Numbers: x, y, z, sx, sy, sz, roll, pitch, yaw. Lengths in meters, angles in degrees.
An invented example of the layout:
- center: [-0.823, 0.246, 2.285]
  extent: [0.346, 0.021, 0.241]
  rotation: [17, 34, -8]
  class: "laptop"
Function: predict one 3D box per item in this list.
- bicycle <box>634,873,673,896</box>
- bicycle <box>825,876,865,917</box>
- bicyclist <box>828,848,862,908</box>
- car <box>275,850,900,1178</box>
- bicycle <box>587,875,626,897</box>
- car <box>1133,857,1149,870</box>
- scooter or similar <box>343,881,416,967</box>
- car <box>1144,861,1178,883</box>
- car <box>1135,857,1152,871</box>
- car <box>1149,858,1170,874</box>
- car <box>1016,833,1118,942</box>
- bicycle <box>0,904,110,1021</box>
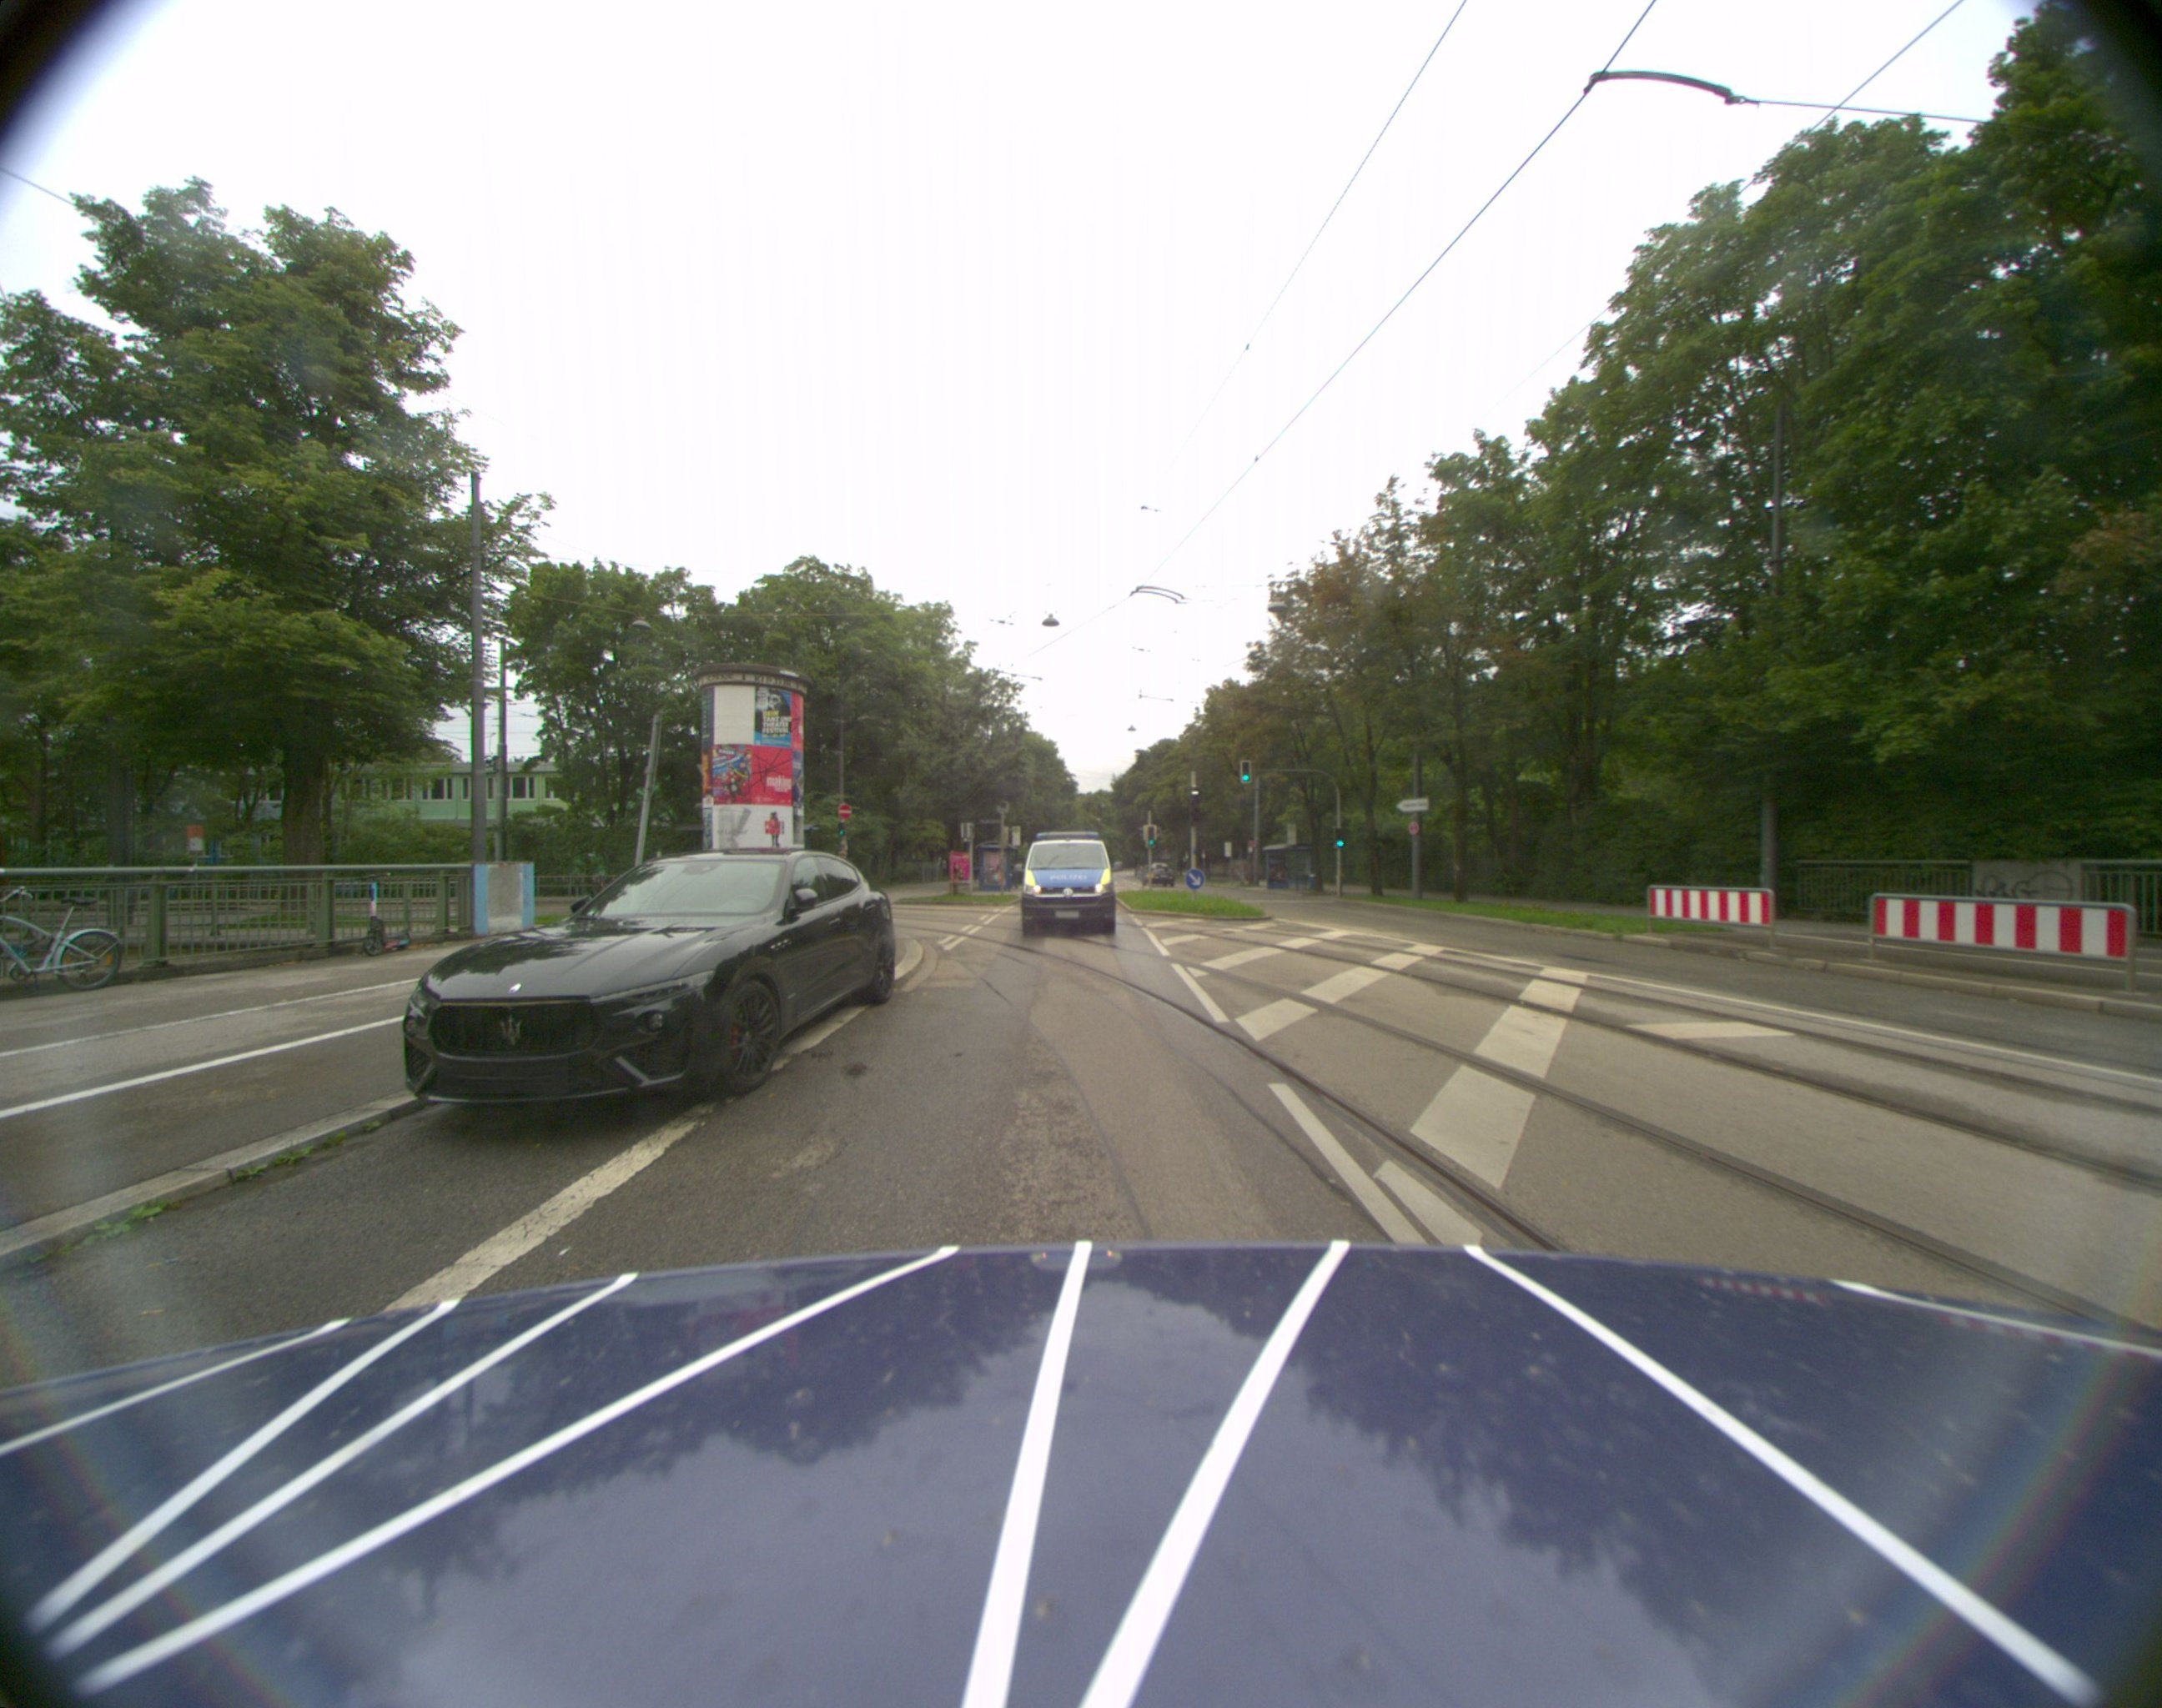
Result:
- center: [-18.714, 1.325, 33.280]
  extent: [1.483, 0.946, 0.373]
  rotation: [-1, 1, 3]
  class: "bicycle"
- center: [-6.958, 1.230, 22.498]
  extent: [0.580, 1.072, 1.911]
  rotation: [-2, 1, -1]
  class: "bicycle"
- center: [-7.007, 0.696, 22.601]
  extent: [0.726, 1.719, 0.726]
  rotation: [-2, 1, 0]
  class: "bicyclist"
- center: [-3.057, 0.823, 6.176]
  extent: [1.905, 1.600, 4.665]
  rotation: [-2, 0, 1]
  class: "car"
- center: [-20.891, 1.397, 33.484]
  extent: [1.483, 0.946, 0.373]
  rotation: [-1, 1, 3]
  class: "bicycle"
- center: [8.571, 1.291, 108.780]
  extent: [1.888, 1.716, 3.999]
  rotation: [-2, 1, -1]
  class: "car"
- center: [-10.615, 1.037, 11.529]
  extent: [0.225, 1.205, 1.020]
  rotation: [-2, 1, -8]
  class: "scooter or similar"
- center: [5.578, 1.230, 53.562]
  extent: [1.628, 1.380, 4.839]
  rotation: [1, 0, -3]
  class: "car"
- center: [8.453, 1.305, 103.636]
  extent: [1.888, 1.716, 3.999]
  rotation: [-2, 1, -1]
  class: "car"
- center: [9.197, 1.402, 88.974]
  extent: [1.888, 1.716, 3.999]
  rotation: [-2, 1, -1]
  class: "car"
- center: [-0.310, 0.609, 17.169]
  extent: [1.903, 2.041, 5.707]
  rotation: [0, 0, -1]
  class: "car"
- center: [-10.791, 1.103, 7.689]
  extent: [0.265, 1.076, 1.540]
  rotation: [-2, 1, -14]
  class: "bicycle"
